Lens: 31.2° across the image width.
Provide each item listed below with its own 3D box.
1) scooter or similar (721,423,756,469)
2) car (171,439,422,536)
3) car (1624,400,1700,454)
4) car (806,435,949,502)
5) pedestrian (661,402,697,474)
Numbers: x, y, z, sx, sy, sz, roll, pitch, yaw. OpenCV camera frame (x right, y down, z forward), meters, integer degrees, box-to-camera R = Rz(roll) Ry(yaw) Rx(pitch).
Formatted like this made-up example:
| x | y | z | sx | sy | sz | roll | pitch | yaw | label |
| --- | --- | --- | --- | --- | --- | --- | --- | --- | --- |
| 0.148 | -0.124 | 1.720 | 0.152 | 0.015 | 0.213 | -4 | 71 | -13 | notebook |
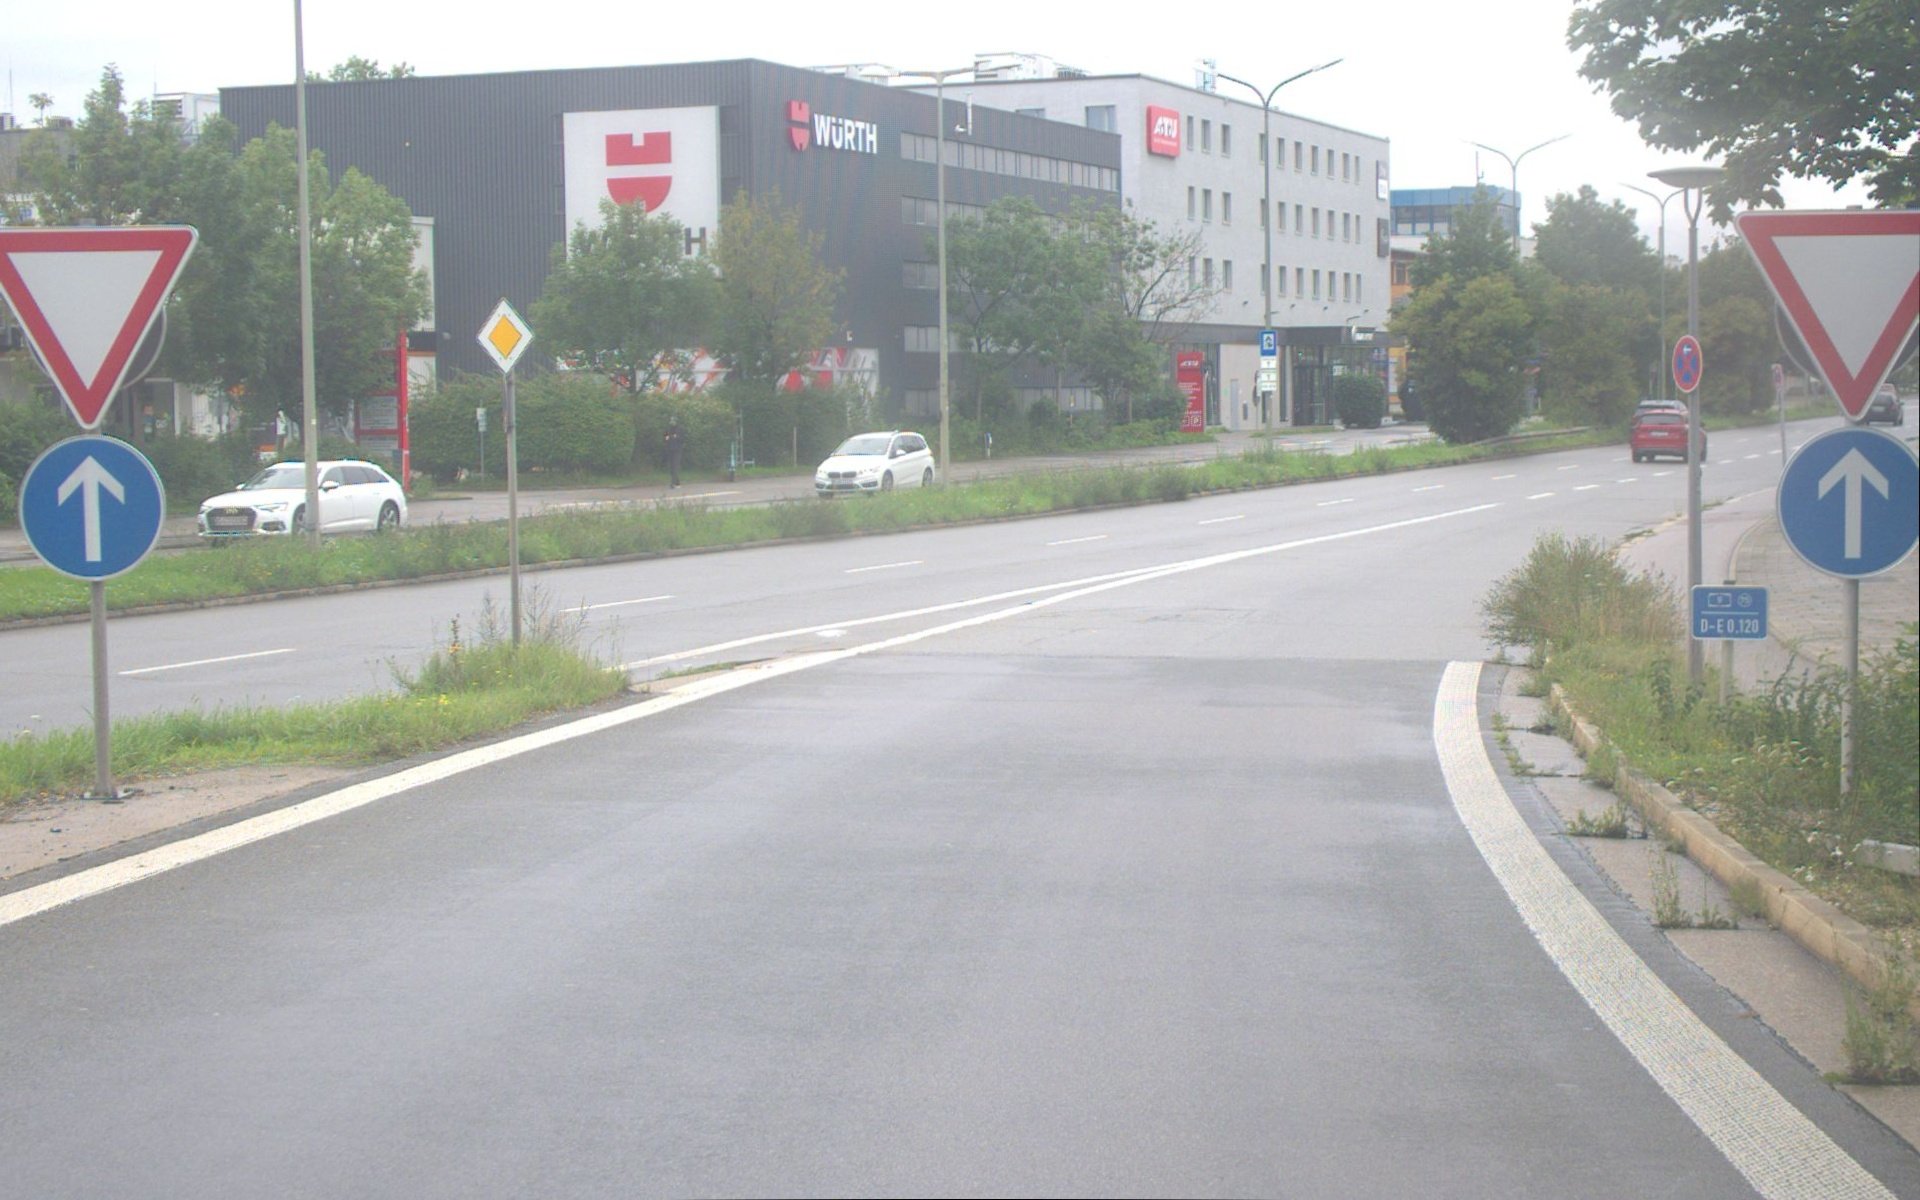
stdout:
| x | y | z | sx | sy | sz | roll | pitch | yaw | label |
| --- | --- | --- | --- | --- | --- | --- | --- | --- | --- |
| -6.044 | -4.212 | 93.868 | 0.446 | 1.223 | 1.386 | 1 | 4 | 19 | scooter or similar |
| -11.794 | -2.040 | 61.466 | 1.995 | 1.566 | 5.114 | 0 | 3 | 21 | car |
| 21.498 | -5.310 | 105.131 | 1.864 | 1.612 | 3.997 | 1 | 4 | 17 | car |
| -2.025 | -3.324 | 86.302 | 1.995 | 1.566 | 4.570 | 0 | 3 | 21 | car |
| -7.289 | -4.207 | 89.213 | 0.623 | 1.823 | 0.816 | 0 | 4 | 21 | pedestrian |
